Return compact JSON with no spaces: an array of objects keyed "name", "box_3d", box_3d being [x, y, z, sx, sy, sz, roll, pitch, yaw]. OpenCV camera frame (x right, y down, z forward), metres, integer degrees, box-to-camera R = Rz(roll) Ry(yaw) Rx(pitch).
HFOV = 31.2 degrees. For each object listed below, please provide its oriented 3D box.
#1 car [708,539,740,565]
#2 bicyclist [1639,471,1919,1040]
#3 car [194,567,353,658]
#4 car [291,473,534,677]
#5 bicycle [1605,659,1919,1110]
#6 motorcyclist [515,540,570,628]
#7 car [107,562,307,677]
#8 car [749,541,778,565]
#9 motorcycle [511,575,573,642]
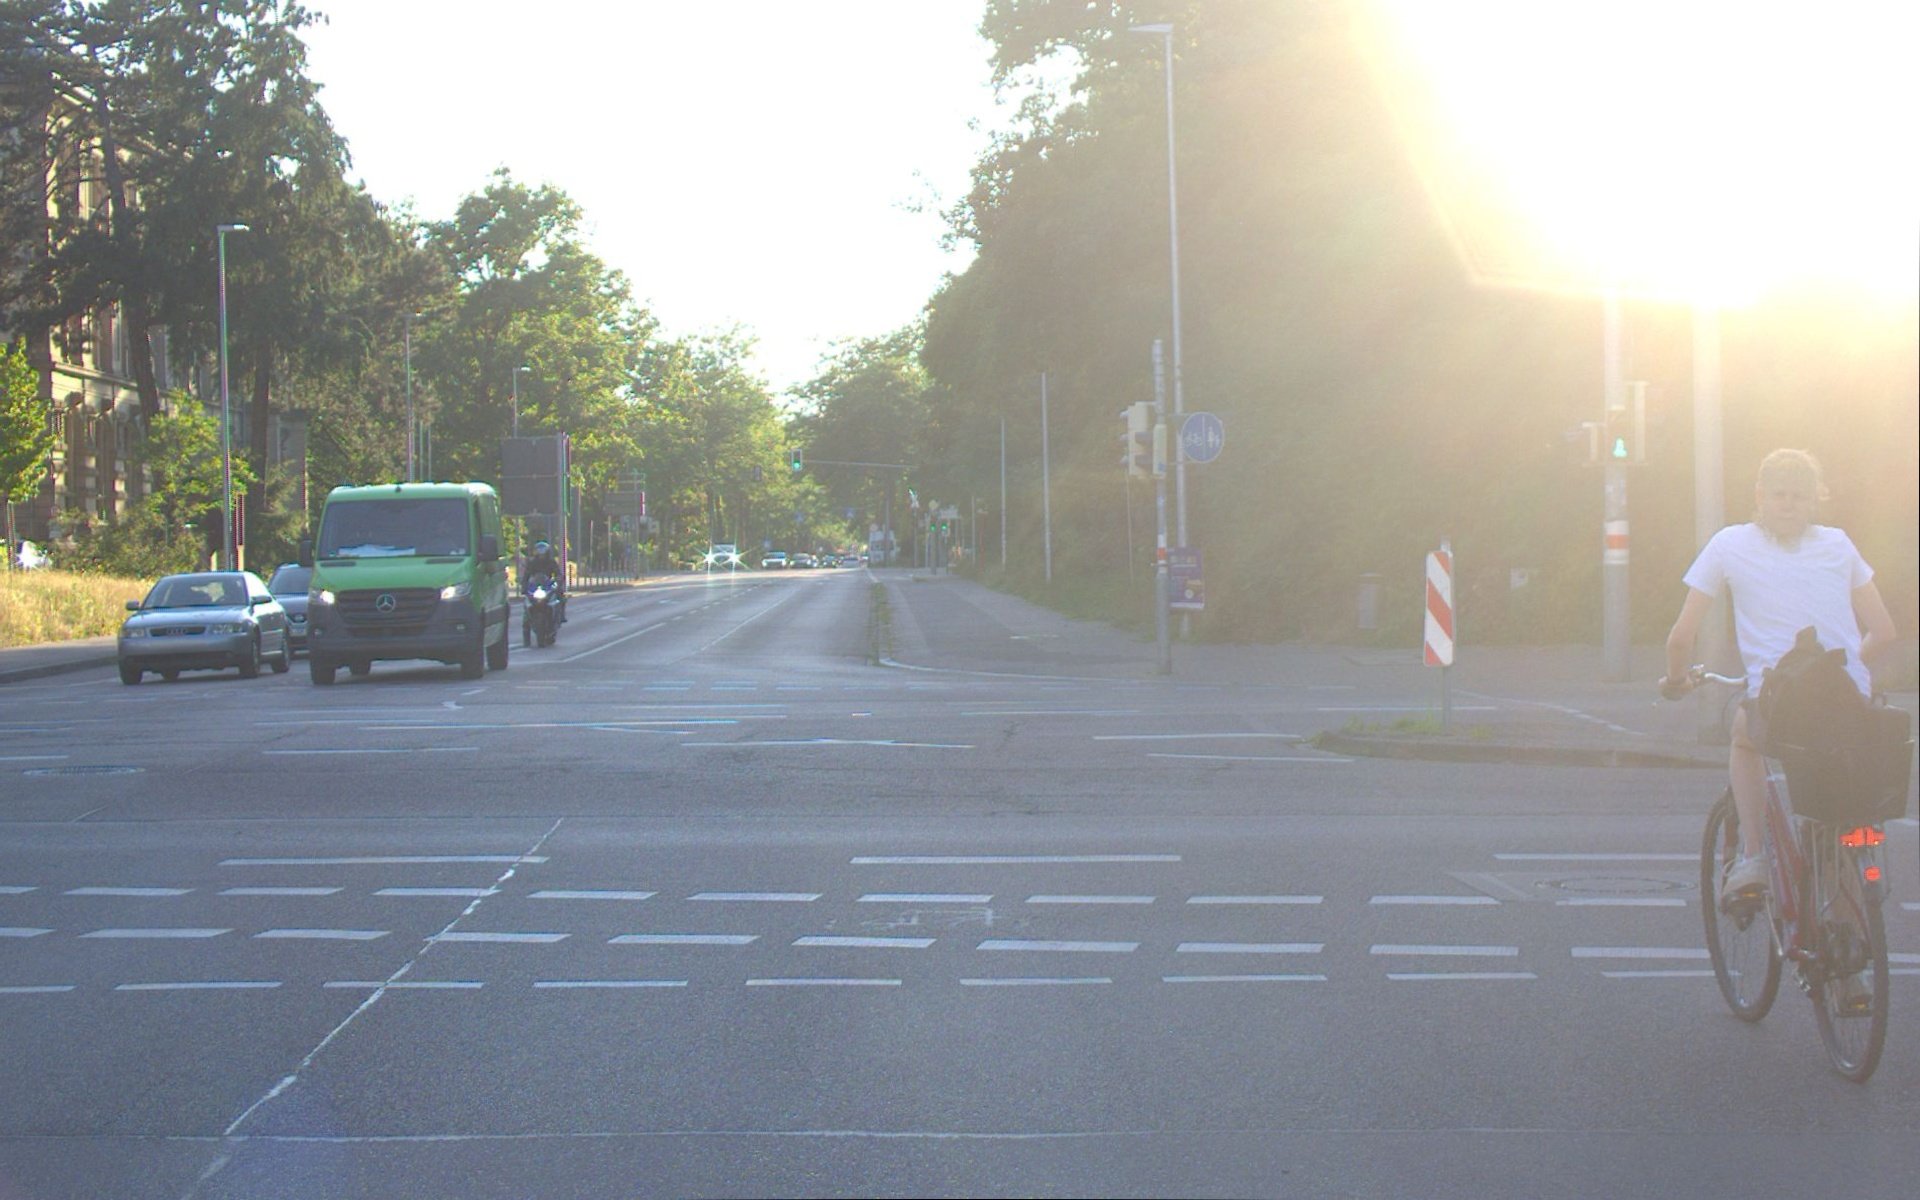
[{"name":"car","box_3d":[-13.395,-2.723,194.794,1.770,1.469,3.777,-1,1,-5]},{"name":"bicyclist","box_3d":[2.376,0.427,10.005,0.603,1.580,0.910,0,1,-1]},{"name":"car","box_3d":[-10.649,0.167,53.544,1.764,1.323,3.643,-1,1,-1]},{"name":"car","box_3d":[-6.535,-0.323,41.704,2.038,2.270,5.941,-1,1,-1]},{"name":"bicycle","box_3d":[2.383,0.769,10.047,0.613,1.134,1.884,0,1,-1]},{"name":"motorcyclist","box_3d":[-6.543,-0.250,53.902,0.749,1.353,0.704,-1,0,-1]},{"name":"car","box_3d":[-9.797,0.219,45.001,1.730,1.404,4.140,-1,1,-1]},{"name":"car","box_3d":[-13.708,-3.287,239.571,1.993,1.634,4.001,-1,1,-4]},{"name":"motorcycle","box_3d":[-6.539,0.127,53.892,0.754,0.998,1.879,-1,1,-1]}]
